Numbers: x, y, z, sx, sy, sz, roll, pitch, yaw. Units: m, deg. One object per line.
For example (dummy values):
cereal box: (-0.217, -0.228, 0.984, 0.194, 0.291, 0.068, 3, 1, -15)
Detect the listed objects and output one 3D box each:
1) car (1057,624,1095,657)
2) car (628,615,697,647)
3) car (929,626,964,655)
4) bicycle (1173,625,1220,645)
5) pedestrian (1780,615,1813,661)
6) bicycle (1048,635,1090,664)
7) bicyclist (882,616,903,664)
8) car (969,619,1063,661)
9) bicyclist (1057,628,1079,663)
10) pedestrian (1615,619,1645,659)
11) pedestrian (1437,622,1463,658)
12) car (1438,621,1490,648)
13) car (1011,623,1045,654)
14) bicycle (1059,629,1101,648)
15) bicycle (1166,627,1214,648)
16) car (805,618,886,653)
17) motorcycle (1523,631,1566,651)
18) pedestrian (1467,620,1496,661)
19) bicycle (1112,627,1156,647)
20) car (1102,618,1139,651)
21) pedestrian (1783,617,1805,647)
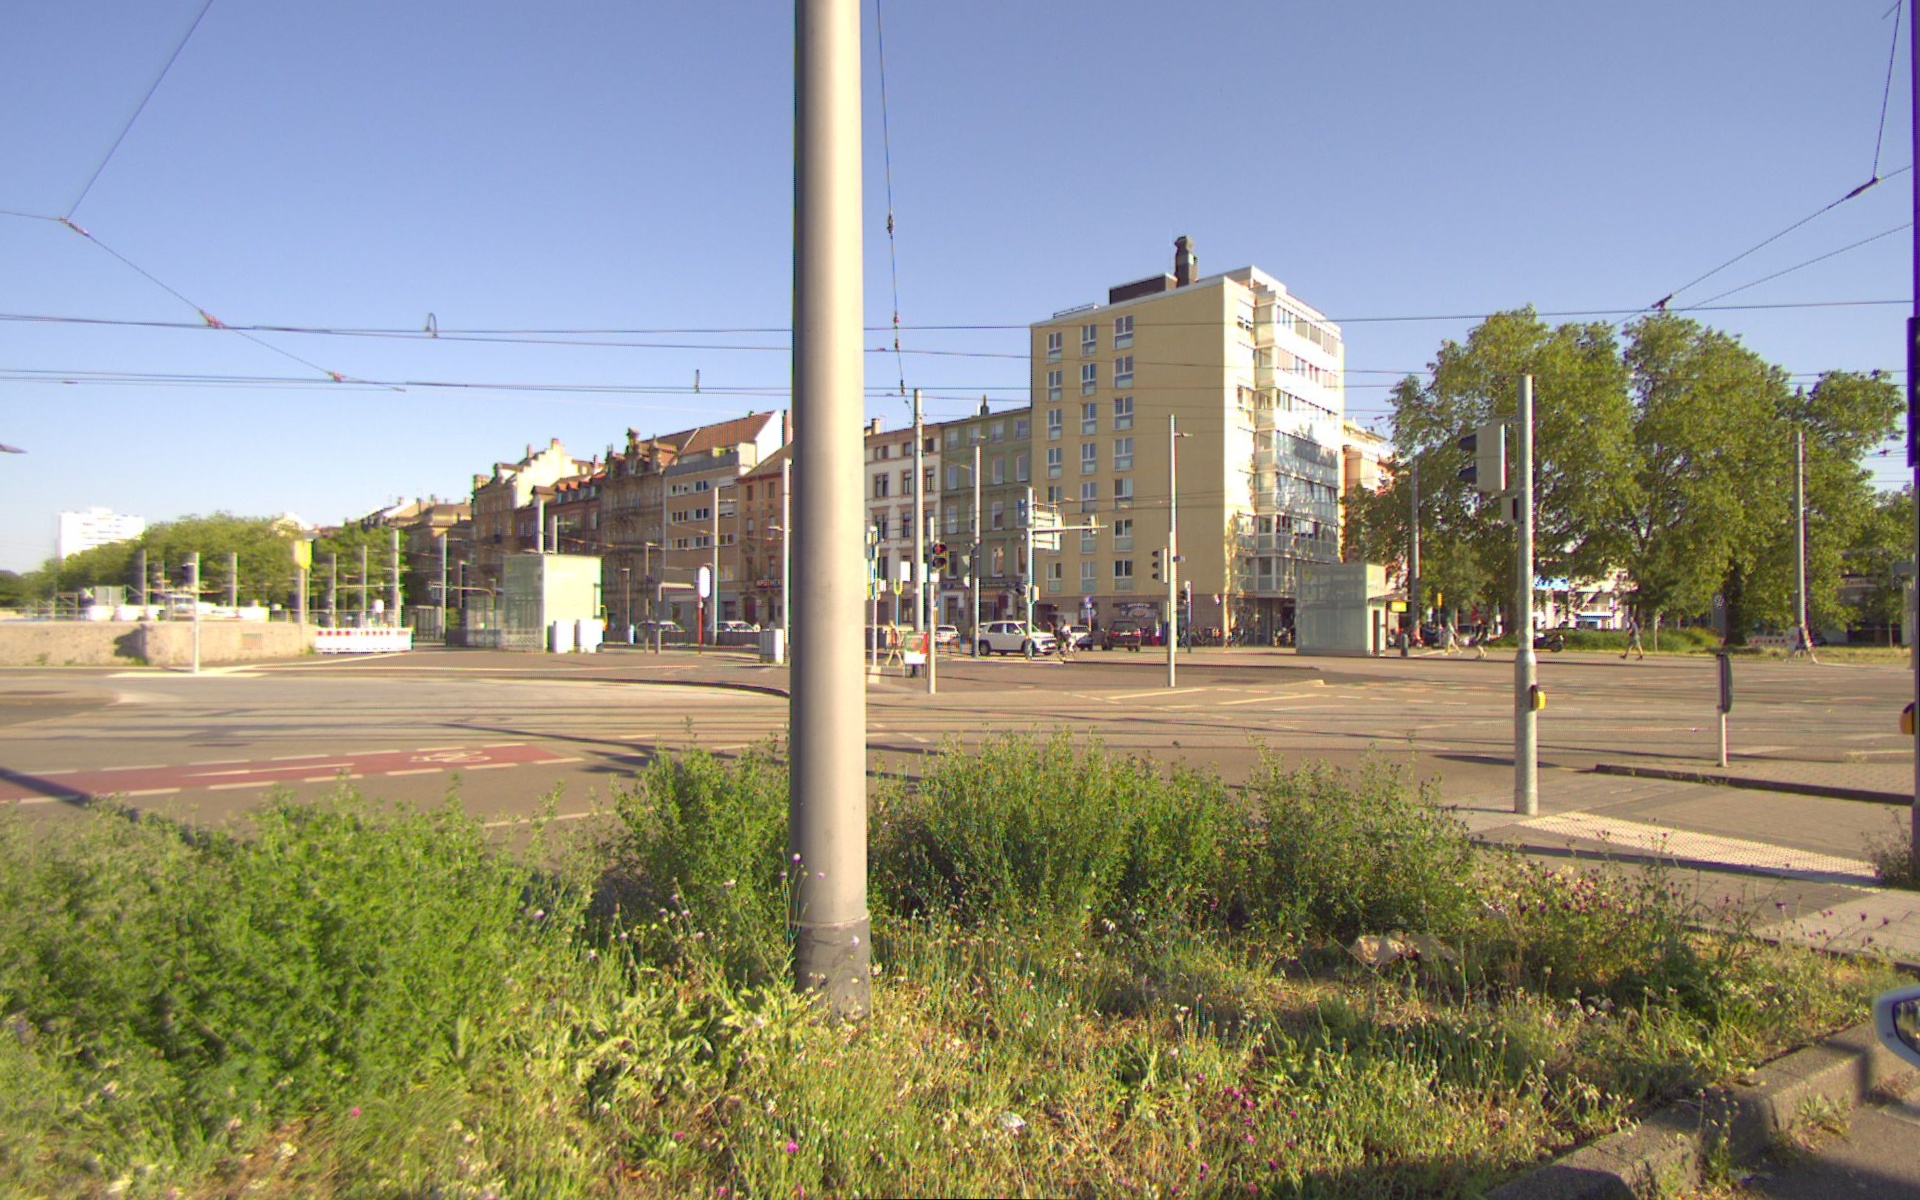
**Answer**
car: (6.827, 2.376, 59.327, 1.960, 1.728, 4.001, 2, 0, 4)
car: (-19.345, 1.986, 65.271, 4.837, 1.849, 1.990, 2, 0, 41)
car: (-0.838, 2.639, 66.331, 1.960, 1.728, 4.001, 2, 0, 4)
bicycle: (14.951, 2.207, 63.627, 3.003, 1.167, 0.637, 1, 0, 44)
pedestrian: (35.489, 1.599, 42.615, 0.747, 1.911, 0.793, 2, 0, -22)
bicycle: (4.414, 1.981, 40.681, 0.617, 1.104, 1.914, 2, 0, 44)
bicyclist: (-2.497, 1.475, 37.283, 0.653, 1.706, 0.980, 2, 0, 2)
car: (2.525, 1.790, 45.711, 3.936, 1.684, 1.780, 2, 0, 37)
bicyclist: (4.368, 1.826, 40.613, 0.617, 1.368, 0.658, 2, 0, 44)
pedestrian: (29.738, 1.730, 44.609, 0.747, 1.728, 0.793, 2, 0, -22)
pedestrian: (23.861, 1.948, 48.908, 0.747, 1.728, 0.793, 2, 0, -22)
car: (32.022, 2.198, 63.810, 3.973, 1.588, 1.753, 2, 0, -44)
car: (4.169, 2.308, 61.459, 1.960, 1.728, 4.001, 2, 0, 4)
bicycle: (8.225, 2.632, 69.004, 3.003, 1.167, 0.637, 1, 0, 44)
bicycle: (14.461, 2.346, 63.217, 3.003, 1.167, 0.637, 1, 0, 44)
car: (-6.155, 1.866, 53.619, 4.655, 1.684, 1.776, 1, 0, 44)
motorcycle: (29.157, 2.053, 50.110, 1.753, 0.926, 0.676, 2, 0, 41)
pedestrian: (22.430, 1.725, 43.199, 0.747, 1.728, 0.793, 2, 0, -22)
bicycle: (11.469, 2.407, 66.193, 3.003, 1.167, 0.637, 1, 0, 44)
car: (9.161, 1.966, 57.495, 1.684, 1.728, 4.001, 2, 0, 4)
pedestrian: (49.004, 1.900, 59.004, 0.491, 1.716, 0.852, 2, 0, -32)
